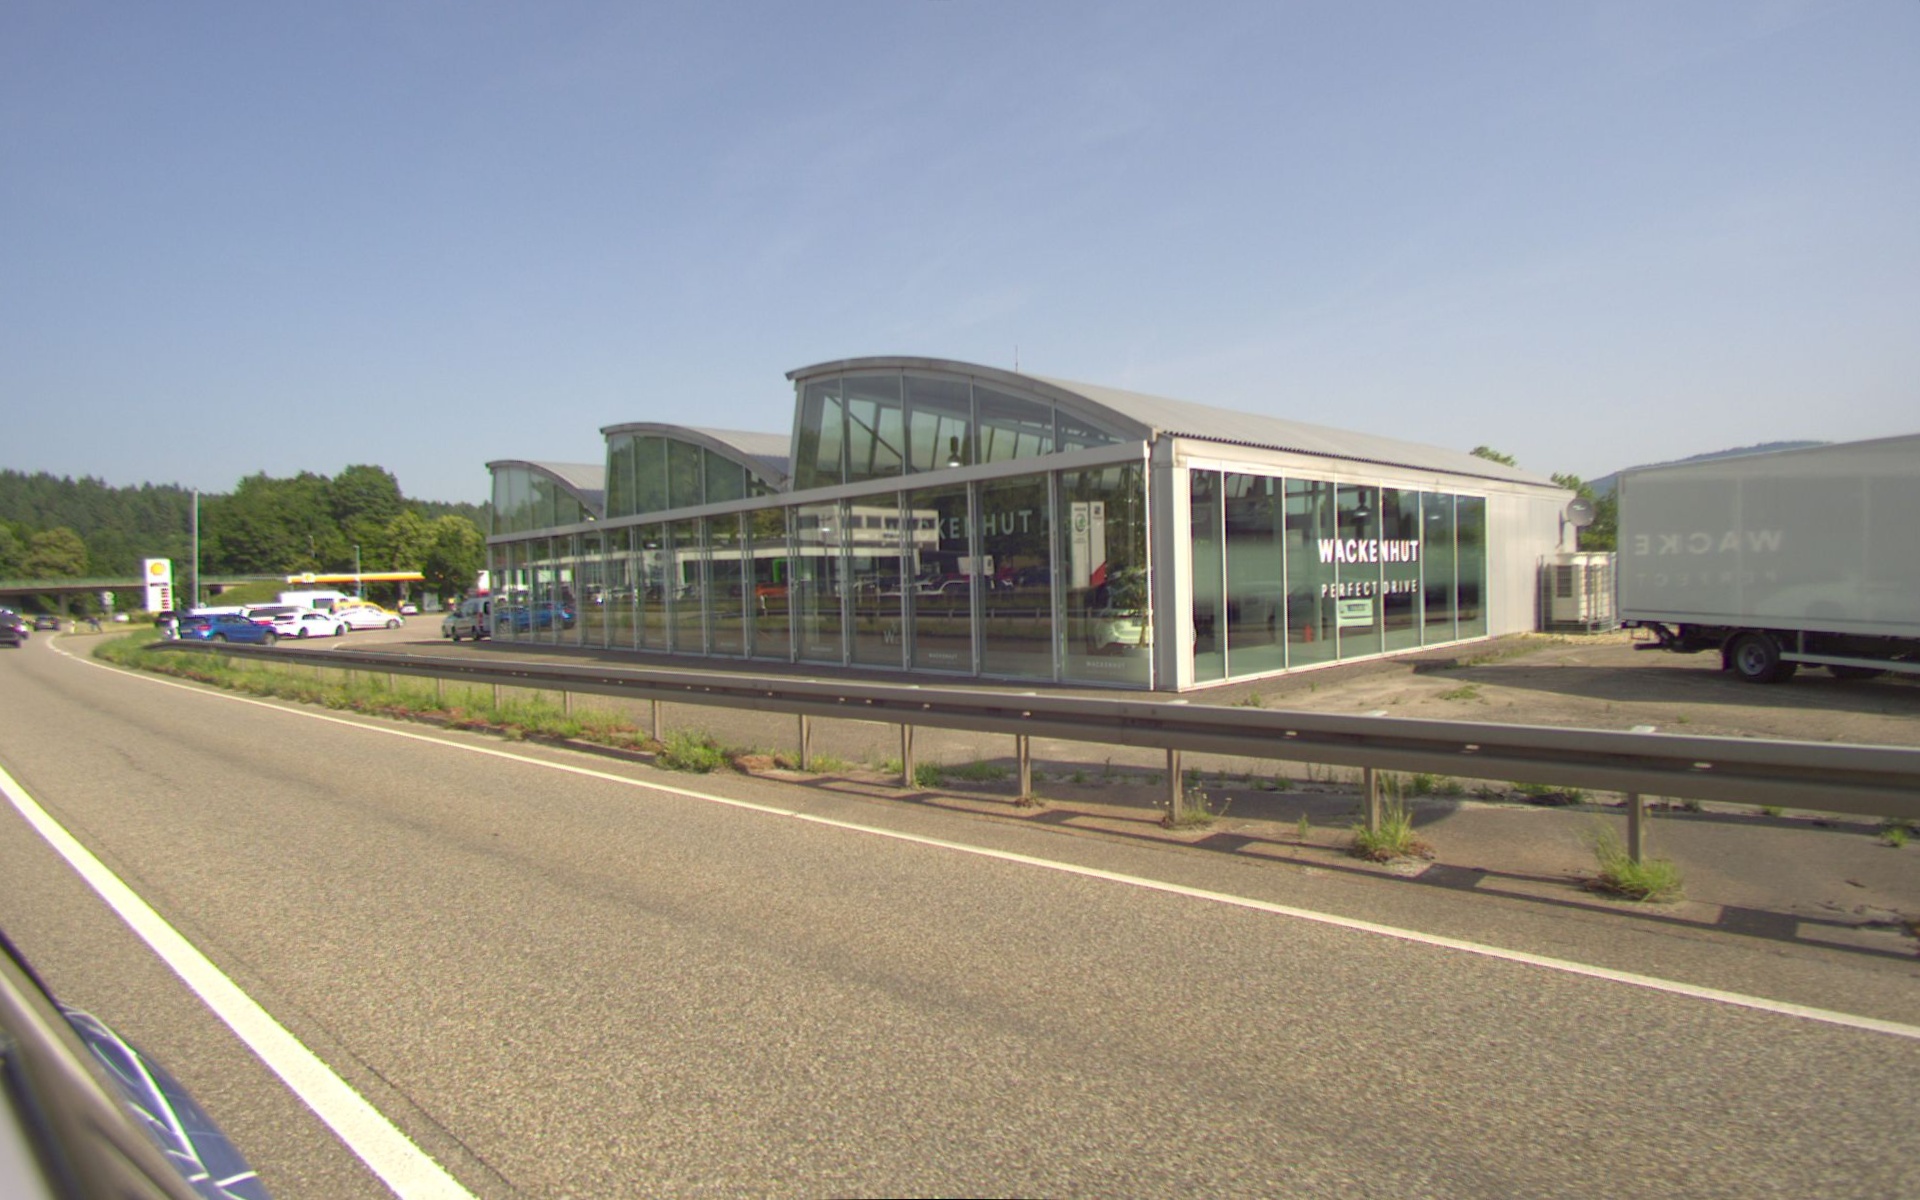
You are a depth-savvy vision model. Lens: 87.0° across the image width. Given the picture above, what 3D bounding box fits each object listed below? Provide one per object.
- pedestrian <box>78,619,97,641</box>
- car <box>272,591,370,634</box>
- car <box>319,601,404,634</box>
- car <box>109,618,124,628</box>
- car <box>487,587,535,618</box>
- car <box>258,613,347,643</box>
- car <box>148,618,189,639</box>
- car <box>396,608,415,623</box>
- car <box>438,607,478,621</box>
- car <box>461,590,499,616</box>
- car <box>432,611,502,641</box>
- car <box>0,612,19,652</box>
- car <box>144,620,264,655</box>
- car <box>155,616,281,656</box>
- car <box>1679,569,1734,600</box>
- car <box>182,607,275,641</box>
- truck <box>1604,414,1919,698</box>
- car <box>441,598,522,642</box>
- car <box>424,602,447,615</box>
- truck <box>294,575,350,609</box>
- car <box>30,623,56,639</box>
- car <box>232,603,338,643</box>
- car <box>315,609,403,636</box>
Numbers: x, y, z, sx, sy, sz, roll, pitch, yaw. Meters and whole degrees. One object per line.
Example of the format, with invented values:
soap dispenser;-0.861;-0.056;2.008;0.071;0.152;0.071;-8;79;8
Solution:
pedestrian;-69.071;2.356;80.133;0.835;1.702;1.148;-1;0;-24
car;-46.785;0.862;74.154;5.653;2.765;2.288;-4;2;-43
car;-39.279;1.144;66.473;4.331;1.821;2.003;-5;2;-44
car;-128.658;3.454;154.382;1.655;1.484;3.715;0;-1;-37
car;-44.995;0.267;101.424;2.366;2.877;6.535;-1;0;-43
car;-35.824;1.493;55.273;1.874;1.413;4.224;-1;1;6
car;-67.368;2.468;86.196;1.786;1.642;4.555;0;-3;-25
car;-62.177;1.779;113.365;1.691;1.578;4.671;-1;0;-31
car;-63.583;1.730;128.191;1.714;1.578;4.274;-2;0;30
car;-46.744;0.342;98.544;1.858;2.404;5.228;-1;0;-43
car;-25.087;1.353;51.446;1.784;1.397;4.835;-2;-1;-44
car;-48.184;1.580;50.388;1.892;1.899;4.915;1;-1;-43
car;-33.872;1.650;45.516;1.830;1.378;4.387;-1;0;6
car;-31.264;1.476;42.815;1.961;1.518;4.225;-1;0;6
car;39.876;-0.829;54.055;3.940;1.616;1.731;-1;2;-44
car;-47.910;1.543;66.361;4.618;1.871;2.145;-4;1;-45
truck;13.330;-0.605;13.967;2.762;3.583;8.226;-2;1;-7
car;-19.994;0.851;42.218;1.784;1.726;4.412;-2;-1;-43
car;-73.073;1.209;140.994;1.878;1.654;4.011;-2;1;-15
truck;-82.484;-0.989;131.208;3.010;4.165;16.827;-1;0;-22
car;-88.458;2.950;97.645;1.730;1.486;4.294;0;-1;-40
car;-39.468;1.297;59.233;4.737;1.996;2.230;-4;2;-44
car;-38.016;1.406;64.064;4.414;1.409;1.968;-3;2;-45
